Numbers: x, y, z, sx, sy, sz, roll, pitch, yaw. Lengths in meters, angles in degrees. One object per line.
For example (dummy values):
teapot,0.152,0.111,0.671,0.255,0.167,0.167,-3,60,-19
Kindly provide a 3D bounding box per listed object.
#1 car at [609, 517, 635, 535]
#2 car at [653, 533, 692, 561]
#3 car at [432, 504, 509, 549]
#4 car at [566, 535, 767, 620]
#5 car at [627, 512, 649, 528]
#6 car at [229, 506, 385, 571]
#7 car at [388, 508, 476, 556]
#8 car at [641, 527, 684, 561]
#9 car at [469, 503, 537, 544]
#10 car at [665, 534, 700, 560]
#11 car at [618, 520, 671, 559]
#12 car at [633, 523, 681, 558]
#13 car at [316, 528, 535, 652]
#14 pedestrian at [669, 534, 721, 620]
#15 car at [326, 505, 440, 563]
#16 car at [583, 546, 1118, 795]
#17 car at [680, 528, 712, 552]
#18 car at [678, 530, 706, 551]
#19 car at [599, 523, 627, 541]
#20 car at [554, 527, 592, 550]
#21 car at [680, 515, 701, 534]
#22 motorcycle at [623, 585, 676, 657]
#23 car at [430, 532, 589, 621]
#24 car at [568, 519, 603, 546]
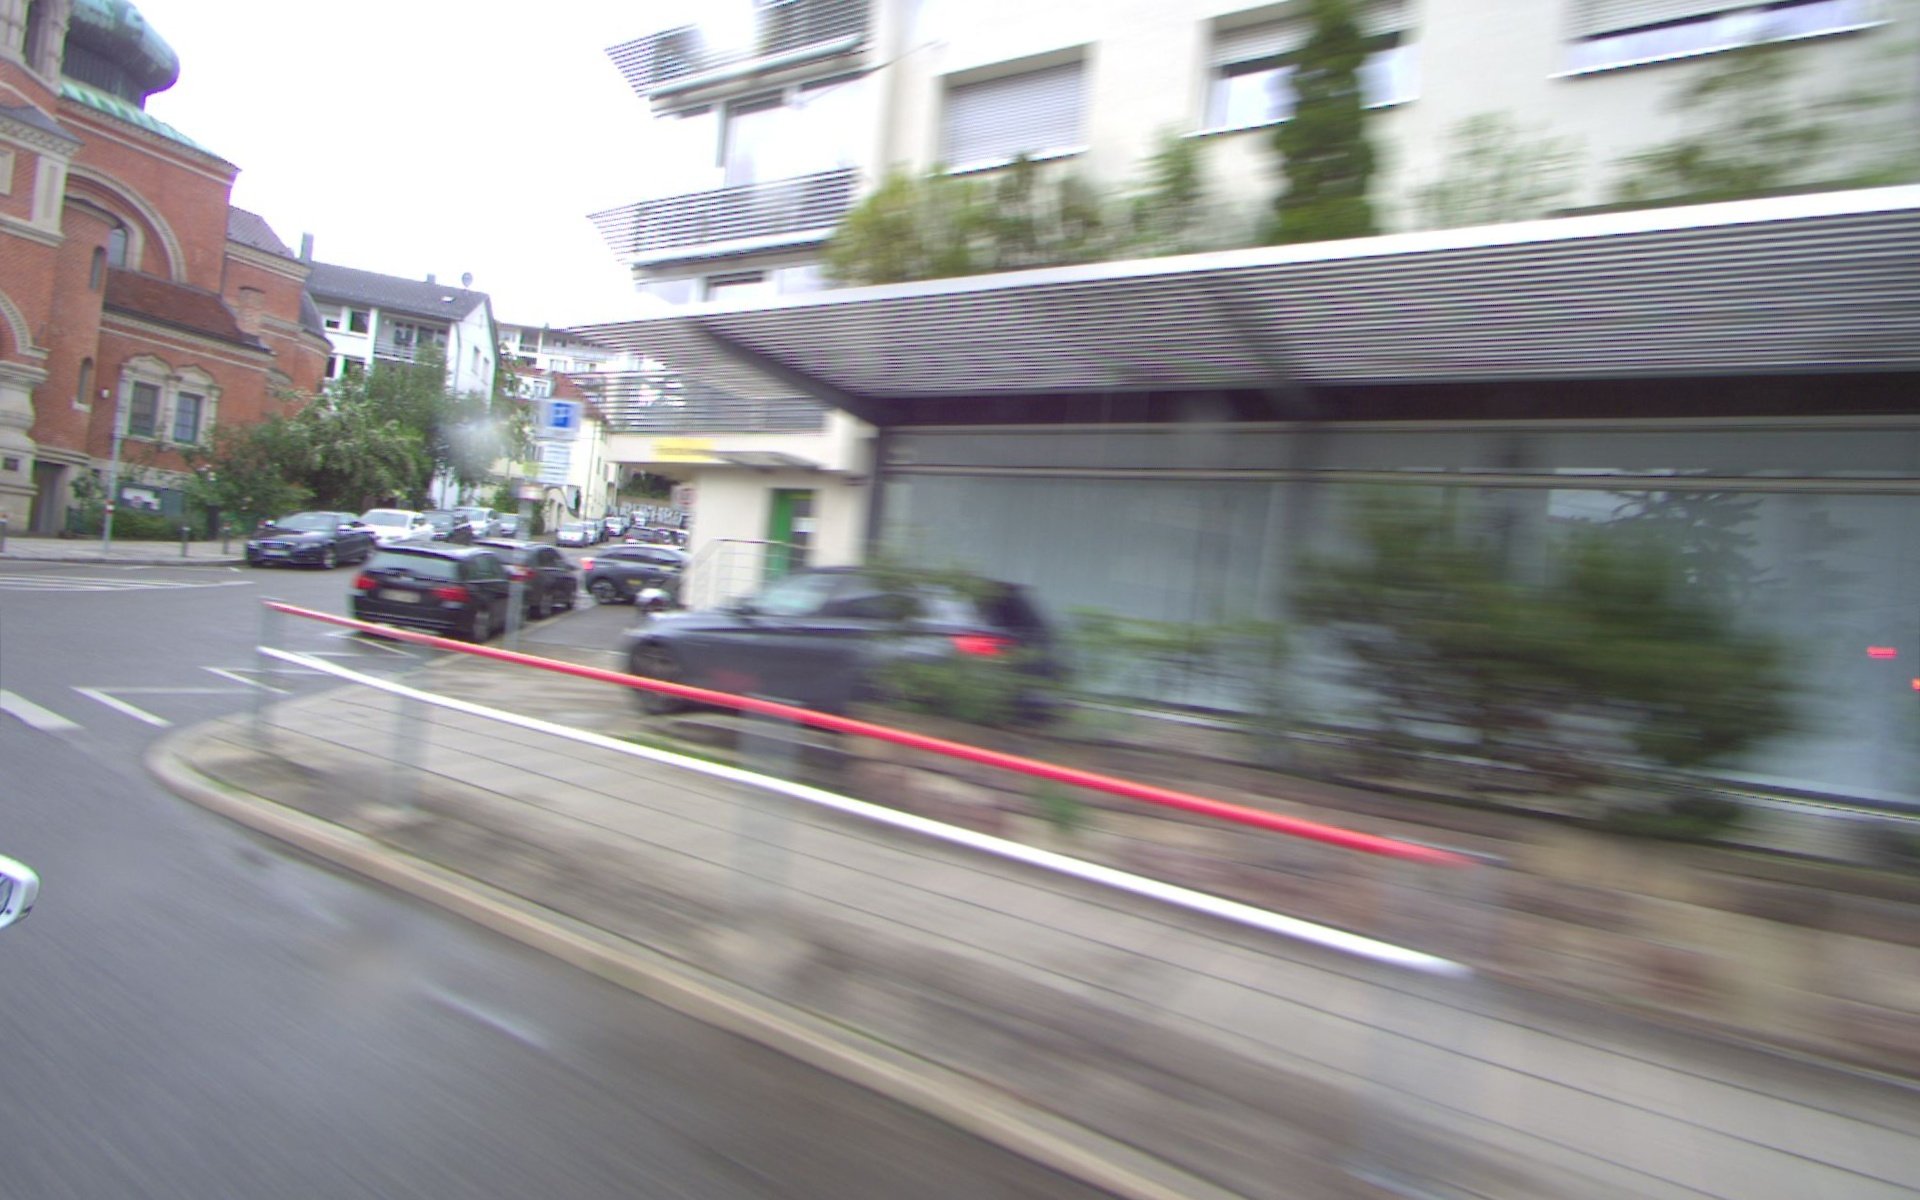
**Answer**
car,-30.775,-6.767,91.651,1.665,1.223,3.810,7,6,-13
car,-18.444,-3.383,64.730,1.798,1.423,3.992,8,1,-9
car,-20.229,-3.004,41.742,1.911,1.534,3.834,6,1,-13
car,-7.355,-0.616,25.495,4.365,1.641,1.998,6,5,2
car,-32.577,-8.119,101.923,1.665,1.290,3.810,6,6,-13
car,-16.882,-1.646,26.279,1.910,1.388,4.461,5,4,-13
car,-18.934,-2.486,36.214,1.909,1.465,3.615,3,6,-13
car,-17.496,-3.269,59.374,1.798,1.549,3.993,8,-1,-10
car,-21.383,-3.533,47.274,1.911,1.526,4.435,6,1,-13
car,-19.440,-3.746,70.655,1.798,1.425,3.986,8,4,-9
car,-15.333,-2.911,49.097,1.798,1.423,3.993,8,-1,-9
car,-16.405,-3.192,54.607,1.798,1.423,3.993,8,-1,-9
car,-8.352,-0.275,16.203,1.971,1.476,4.431,8,2,-15
pedestrian,-5.935,-0.534,22.546,0.765,1.824,1.021,6,4,-1
car,-17.840,-2.072,31.328,1.915,1.516,3.914,5,3,-13
car,-1.061,0.455,8.799,4.376,1.523,1.854,5,1,32
car,-19.911,-4.534,75.993,1.798,1.476,3.987,8,4,-9
car,-23.480,-5.254,88.184,1.798,1.476,3.987,8,4,-9
car,-29.448,-5.818,85.468,1.665,1.222,3.812,6,4,-13
car,-25.467,-4.064,66.278,1.665,1.221,3.814,6,3,-13
car,-28.863,-8.098,107.868,1.799,1.427,3.980,7,7,-13
motorcycle,-5.228,0.314,17.041,0.543,0.993,2.206,6,3,-11
car,-9.395,-0.574,21.388,1.969,1.477,4.435,7,2,-11
car,-26.528,-4.784,71.326,1.665,1.601,3.813,6,4,-13
